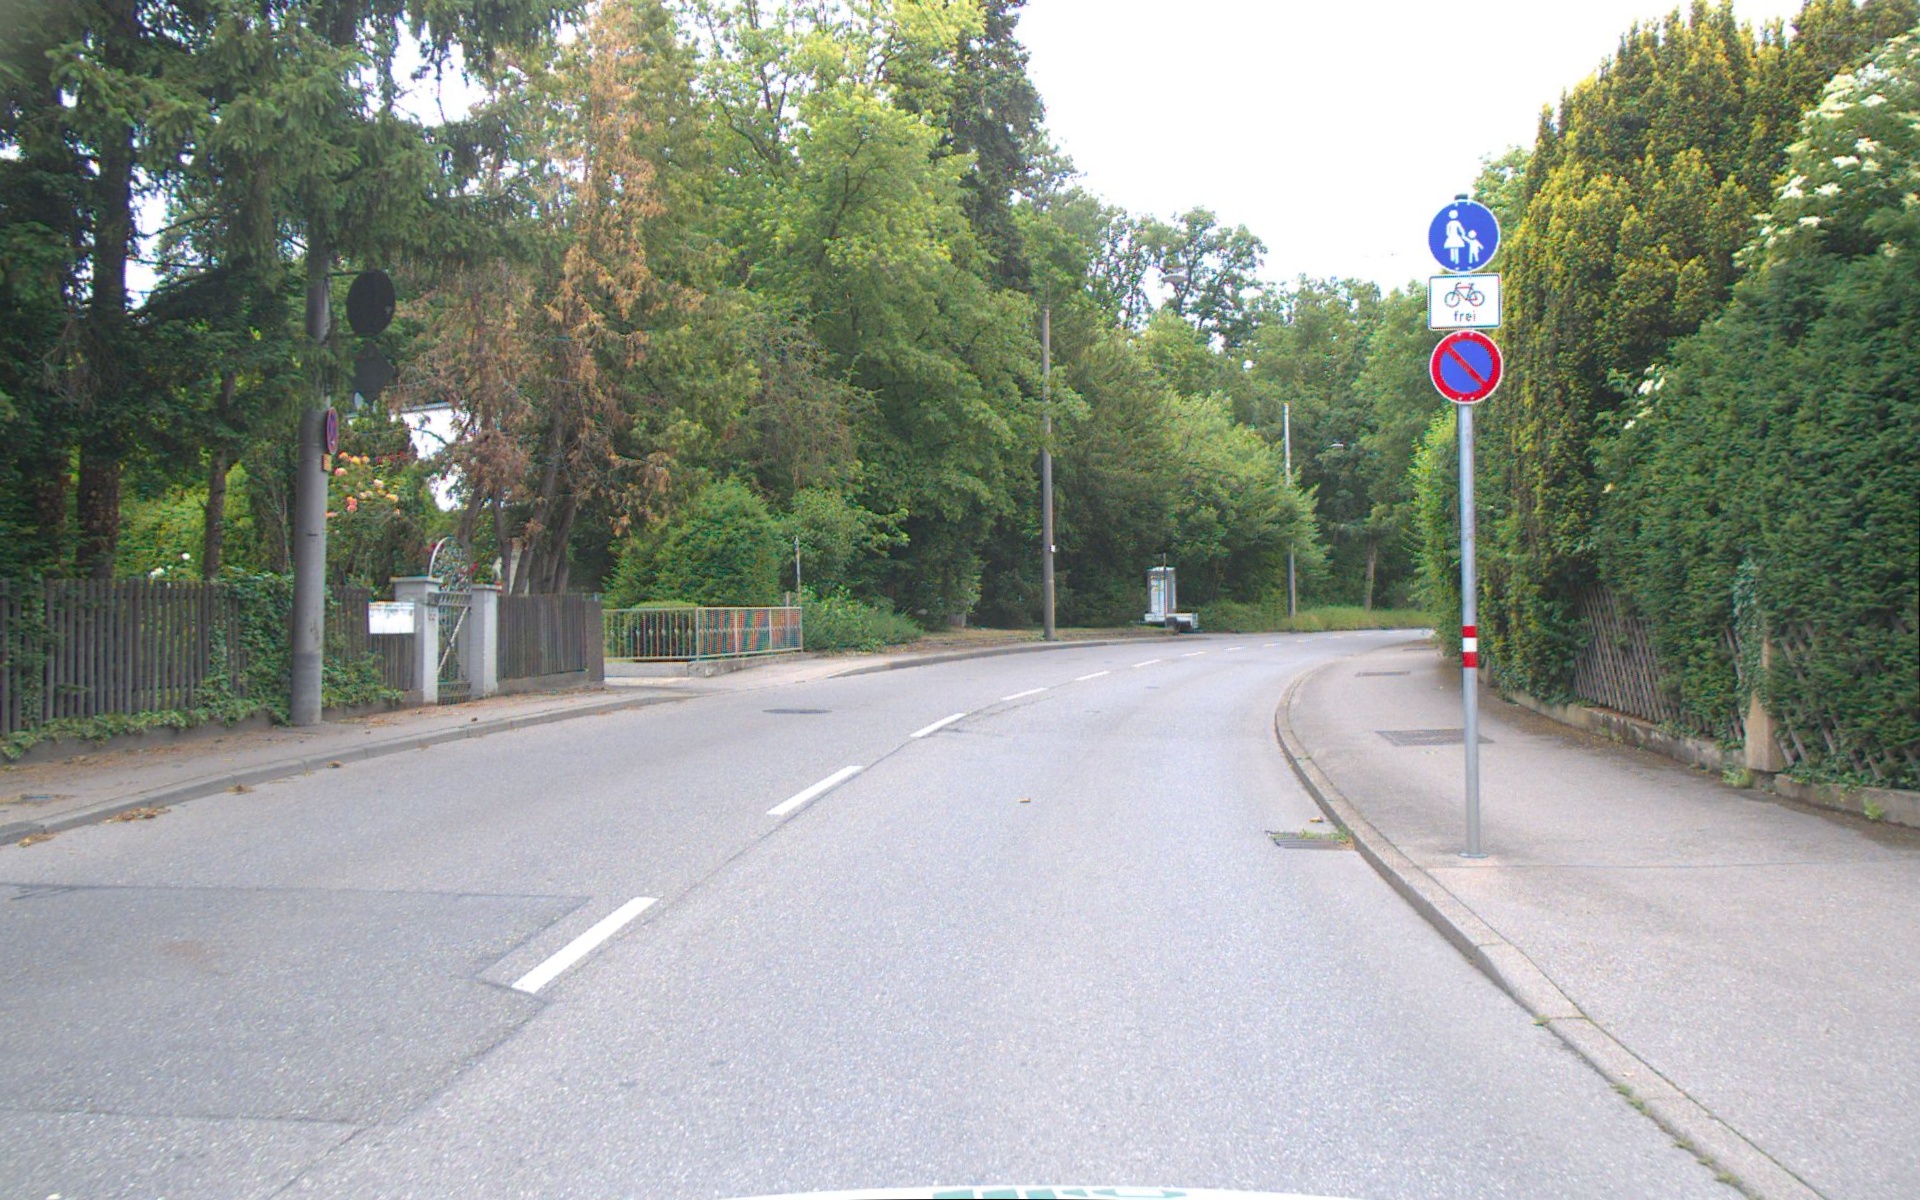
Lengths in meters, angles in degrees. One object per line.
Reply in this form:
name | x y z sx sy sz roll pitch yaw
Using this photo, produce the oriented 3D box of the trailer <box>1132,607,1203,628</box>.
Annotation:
trailer | 8.860 0.769 70.628 2.892 0.843 1.477 -1 -1 12
